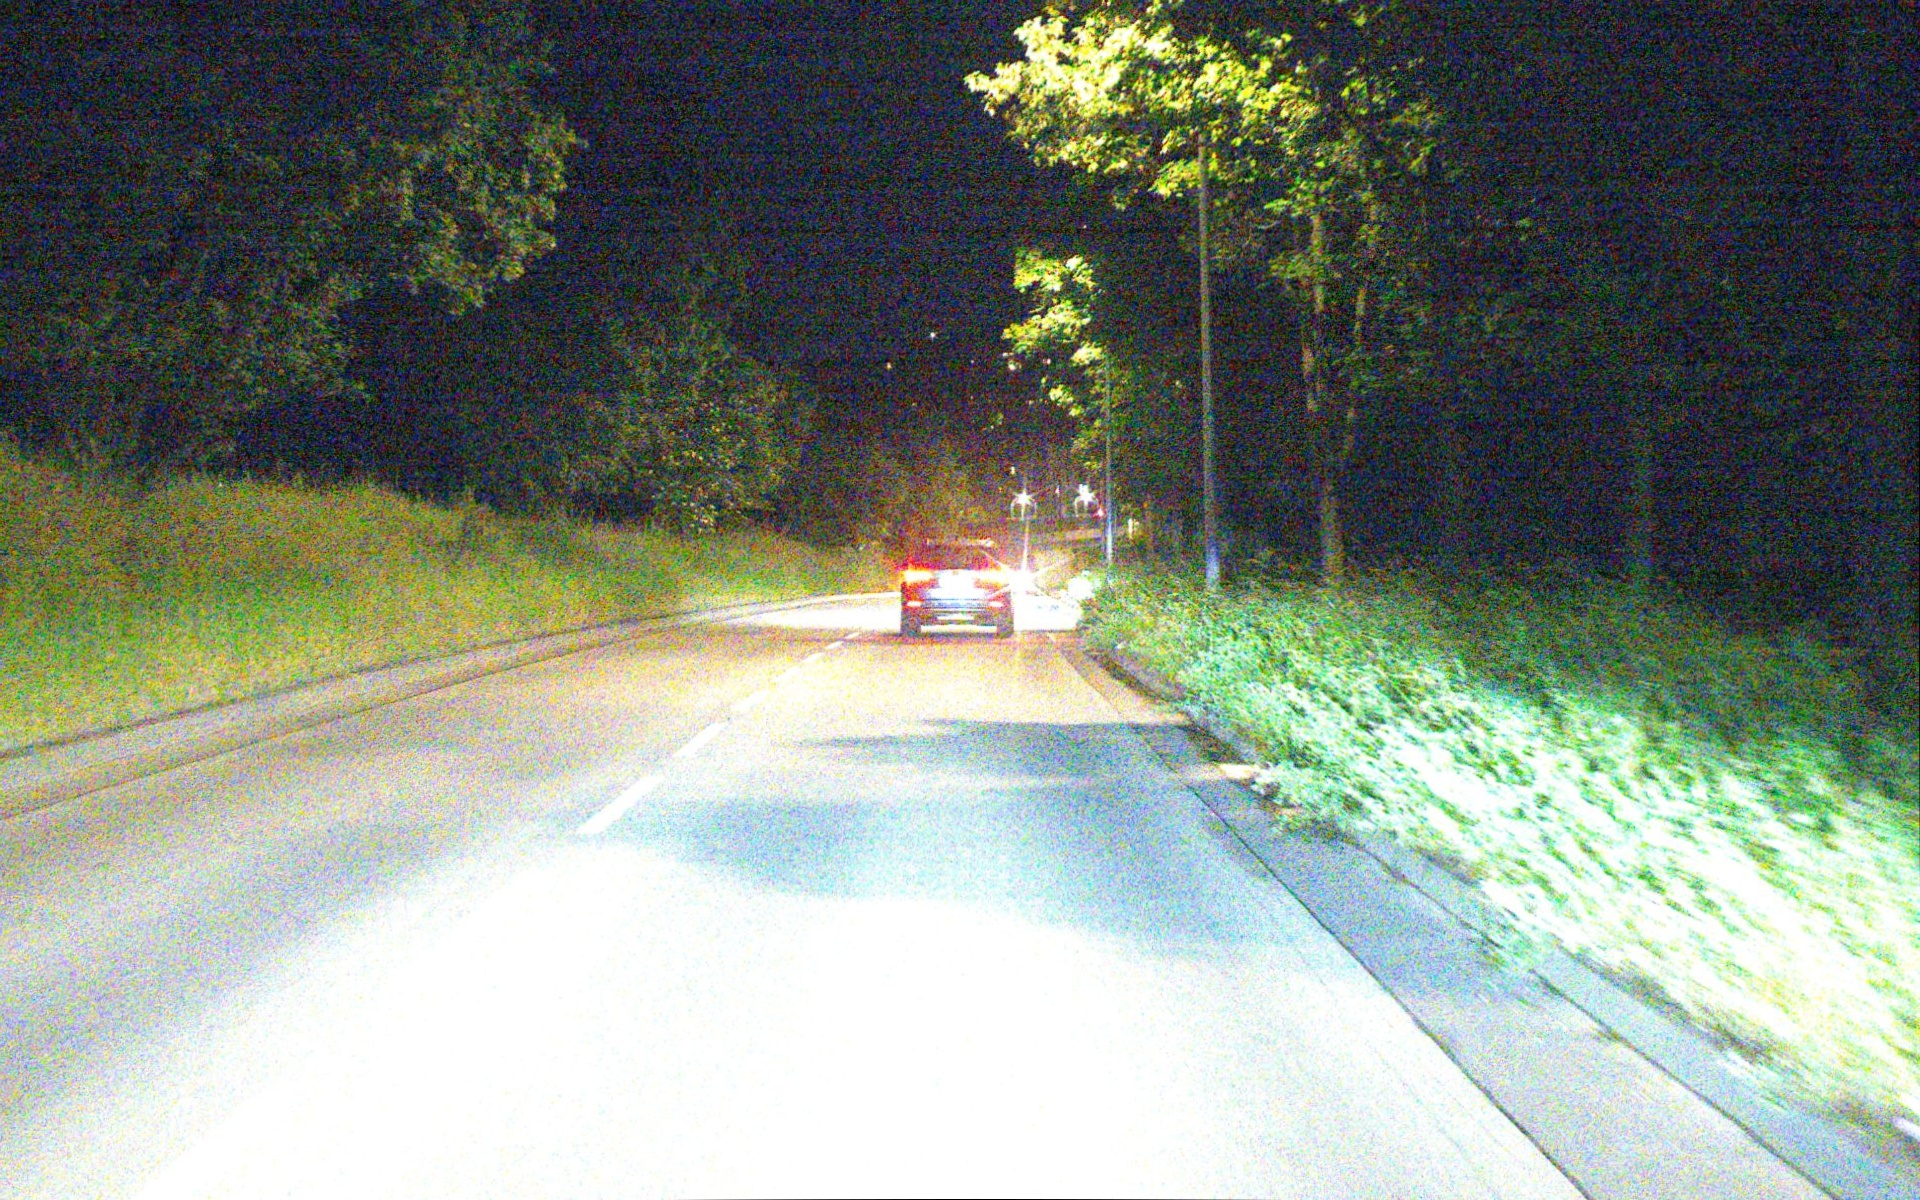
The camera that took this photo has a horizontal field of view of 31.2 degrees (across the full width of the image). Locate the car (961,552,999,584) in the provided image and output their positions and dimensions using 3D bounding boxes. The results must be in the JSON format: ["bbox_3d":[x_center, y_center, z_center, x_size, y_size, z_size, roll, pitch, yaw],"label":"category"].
[{"bbox_3d":[0.948,-1.504,159.614,1.687,1.452,4.000,1,0,1],"label":"car"}]

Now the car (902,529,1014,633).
[{"bbox_3d":[-0.066,-0.319,56.290,1.763,1.636,3.723,0,1,-1],"label":"car"}]
